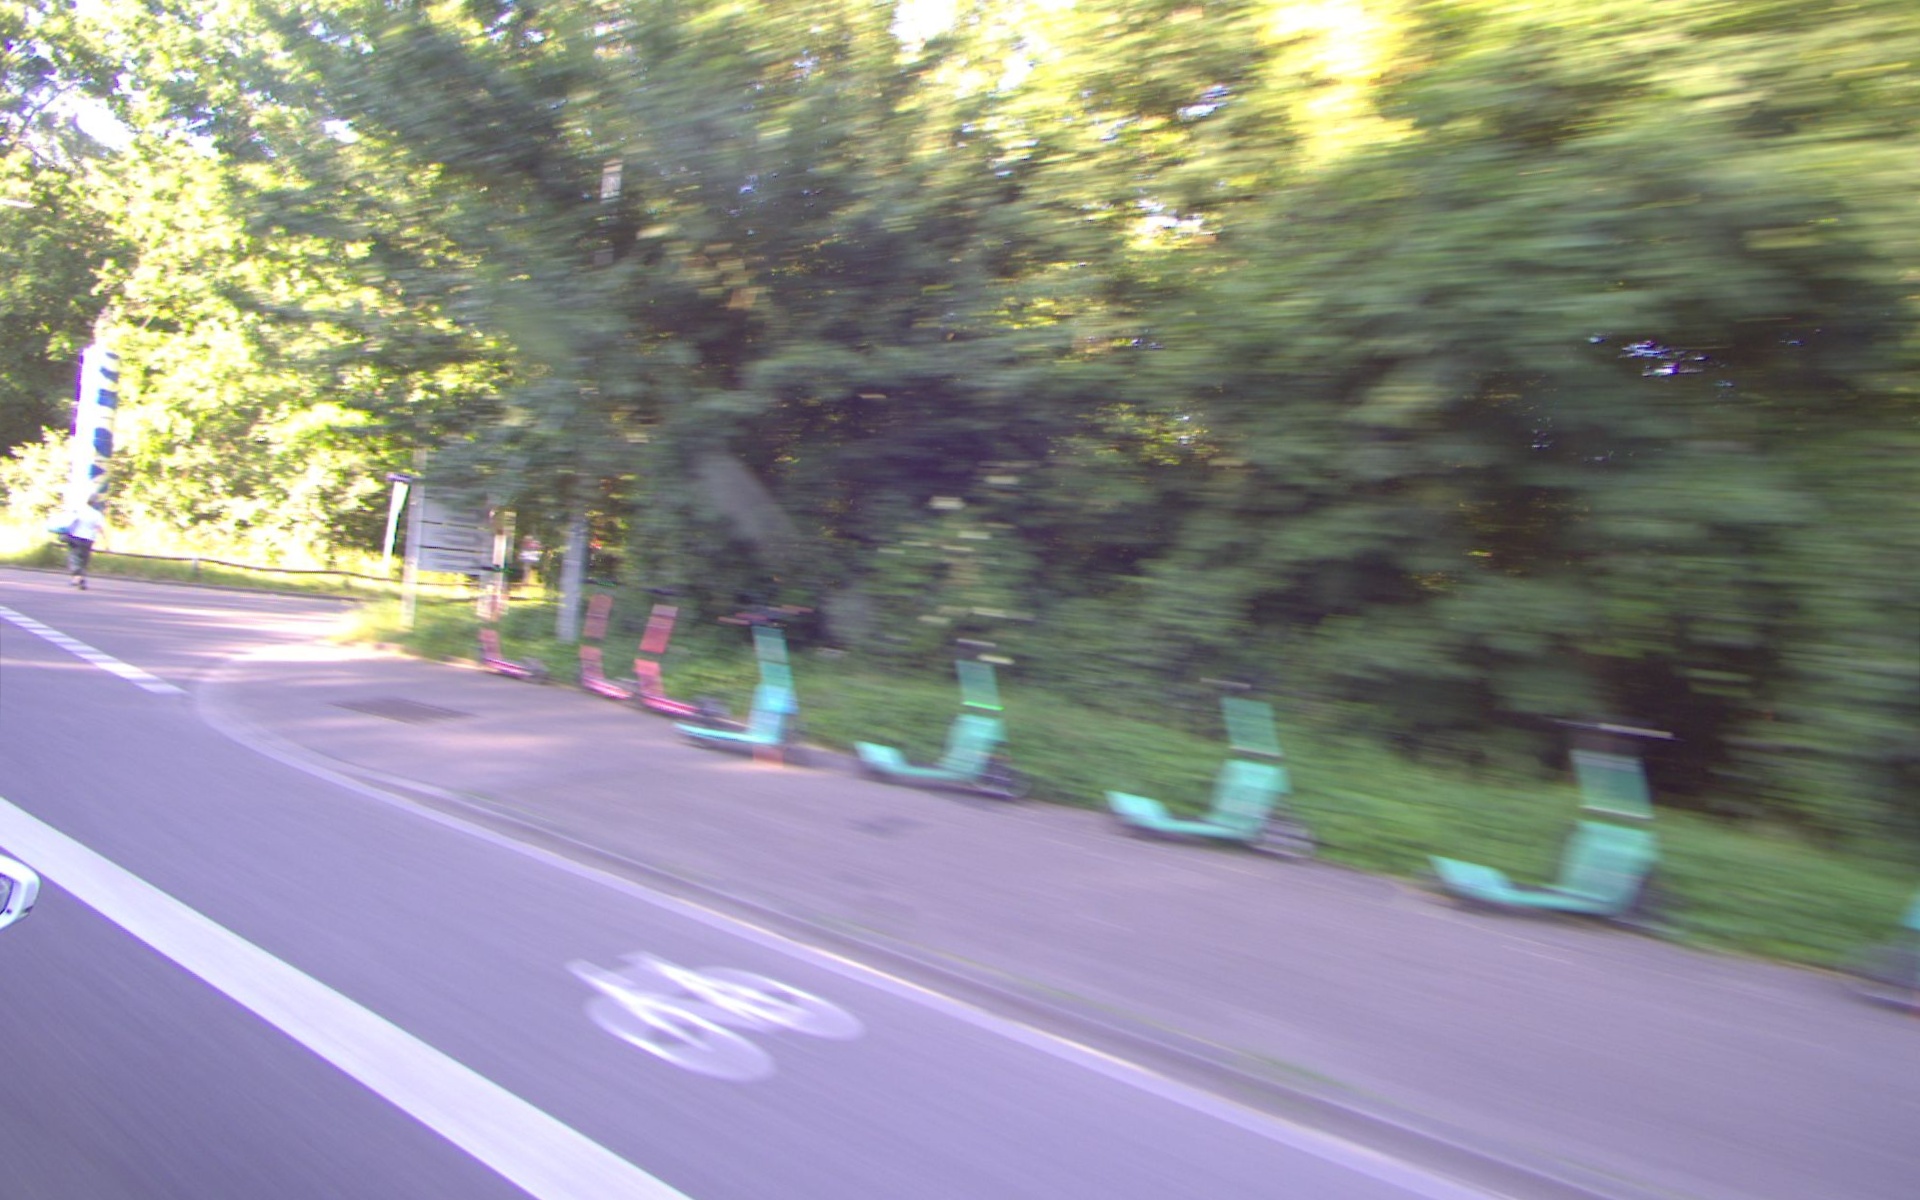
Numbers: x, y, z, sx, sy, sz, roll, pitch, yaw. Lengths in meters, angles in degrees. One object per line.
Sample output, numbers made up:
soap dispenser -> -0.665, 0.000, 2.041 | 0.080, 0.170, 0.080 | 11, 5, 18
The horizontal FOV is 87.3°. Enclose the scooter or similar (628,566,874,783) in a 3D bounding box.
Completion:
scooter or similar -> -1.652, 0.557, 8.003 | 1.650, 1.441, 0.684 | 7, 1, 16

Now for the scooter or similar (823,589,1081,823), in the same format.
scooter or similar -> -0.046, 0.744, 7.480 | 1.650, 1.441, 0.684 | 7, 1, 16

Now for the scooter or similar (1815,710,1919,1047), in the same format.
scooter or similar -> 4.982, 1.334, 4.405 | 1.654, 1.441, 0.682 | 7, 1, 31

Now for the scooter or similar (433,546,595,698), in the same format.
scooter or similar -> -4.867, 0.223, 10.944 | 1.654, 1.441, 0.682 | 7, 1, 32

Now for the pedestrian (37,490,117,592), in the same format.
pedestrian -> -14.827, -0.981, 16.899 | 0.790, 1.583, 0.755 | 7, 1, 36

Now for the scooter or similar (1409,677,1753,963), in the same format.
scooter or similar -> 3.451, 1.195, 5.692 | 1.452, 1.323, 0.467 | 7, 1, 10

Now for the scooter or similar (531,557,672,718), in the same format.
scooter or similar -> -3.612, 0.362, 10.106 | 1.227, 1.441, 0.681 | 7, 1, 40

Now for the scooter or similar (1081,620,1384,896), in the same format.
scooter or similar -> 1.736, 0.951, 6.509 | 1.650, 1.441, 0.684 | 7, 1, 18

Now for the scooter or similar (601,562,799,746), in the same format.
scooter or similar -> -2.406, 0.464, 9.233 | 1.654, 1.441, 0.682 | 7, 1, 32
